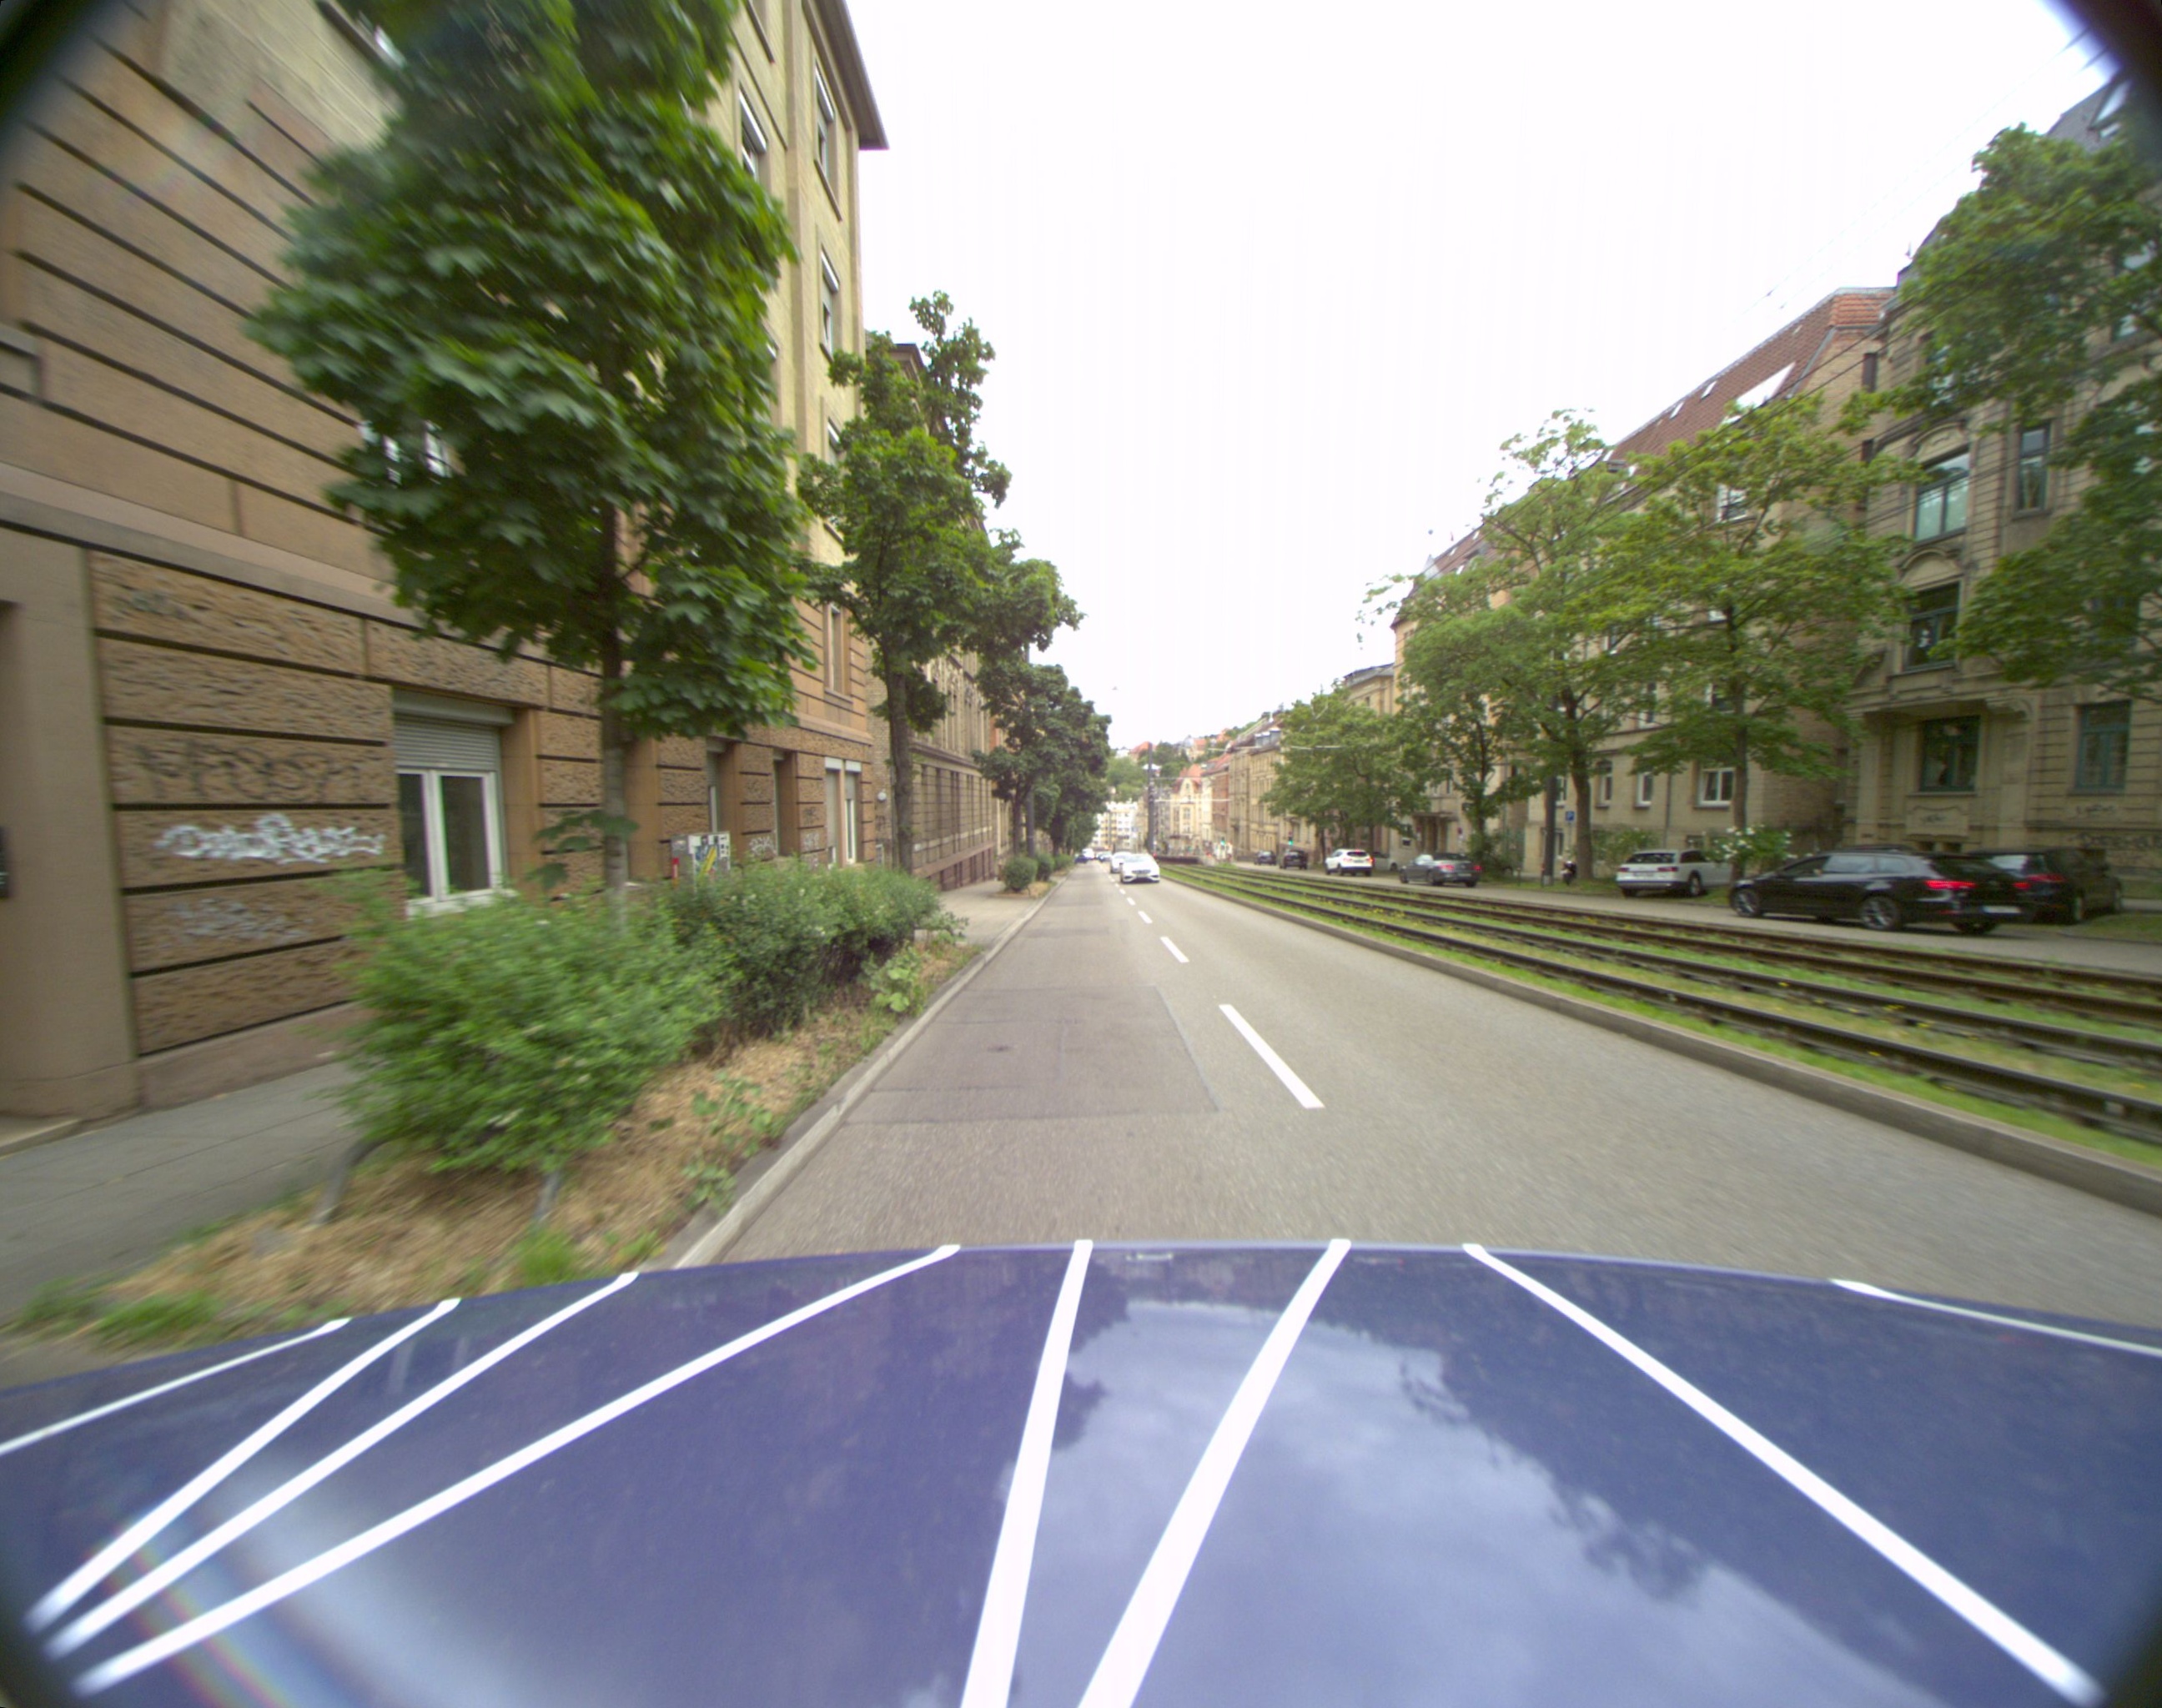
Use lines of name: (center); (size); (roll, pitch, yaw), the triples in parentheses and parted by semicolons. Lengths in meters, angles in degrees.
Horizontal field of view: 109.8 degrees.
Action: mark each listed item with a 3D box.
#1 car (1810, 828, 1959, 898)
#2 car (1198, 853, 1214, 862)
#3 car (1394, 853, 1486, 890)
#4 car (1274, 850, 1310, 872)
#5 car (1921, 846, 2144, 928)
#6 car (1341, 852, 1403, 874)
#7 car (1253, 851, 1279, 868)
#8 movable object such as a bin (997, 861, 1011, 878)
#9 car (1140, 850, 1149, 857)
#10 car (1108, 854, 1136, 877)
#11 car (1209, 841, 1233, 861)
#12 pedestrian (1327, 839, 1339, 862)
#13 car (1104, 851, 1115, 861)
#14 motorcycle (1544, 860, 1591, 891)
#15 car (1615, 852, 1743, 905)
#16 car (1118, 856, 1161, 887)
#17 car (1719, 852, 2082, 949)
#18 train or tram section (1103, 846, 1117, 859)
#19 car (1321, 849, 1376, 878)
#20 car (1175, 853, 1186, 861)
car: (19.943, 0.176, 18.818); (4.199, 1.564, 1.867); (-1, 1, -34)
car: (20.894, 0.629, 127.364); (1.753, 1.420, 4.747); (0, 0, -1)
car: (15.004, 0.668, 32.067); (1.729, 1.402, 4.597); (1, 1, 1)
car: (17.027, 0.526, 61.496); (1.784, 1.647, 4.242); (1, 1, 1)
car: (19.155, 0.576, 15.290); (4.197, 1.427, 1.867); (-1, 1, -25)
car: (19.616, 0.590, 51.231); (4.006, 1.414, 1.782); (-1, 1, -30)
car: (19.375, 0.537, 79.825); (1.884, 1.640, 4.471); (1, 0, 4)
movable object such as a bin: (-4.161, 0.844, 40.905); (0.672, 0.892, 0.582); (1, -1, -1)
car: (19.918, -0.236, 237.661); (1.999, 2.291, 5.453); (-1, 0, -3)
car: (2.997, 0.817, 55.997); (1.806, 1.542, 4.000); (-1, 0, 0)
car: (20.578, -0.453, 111.661); (2.398, 2.684, 6.518); (1, 1, 2)
pedestrian: (22.719, -0.317, 68.475); (0.722, 2.002, 0.797); (-1, 0, -1)
car: (4.144, 0.315, 111.318); (1.562, 1.330, 4.000); (-1, 0, 1)
motorcycle: (18.390, 0.806, 28.700); (2.209, 1.052, 0.623); (-3, 2, -33)
car: (18.724, 0.707, 23.757); (4.162, 1.461, 1.781); (-1, 1, -31)
car: (2.876, 0.836, 38.032); (1.806, 1.391, 4.000); (-1, 0, 0)
car: (14.745, 0.727, 14.173); (1.870, 1.427, 4.493); (2, 1, 0)
train or tram section: (7.576, -0.321, 200.892); (2.968, 3.456, 14.407); (0, 0, -1)
car: (15.798, 0.518, 45.115); (1.784, 1.607, 4.345); (1, 1, 1)
car: (17.885, 0.547, 136.946); (1.580, 1.369, 3.655); (0, 0, 3)
